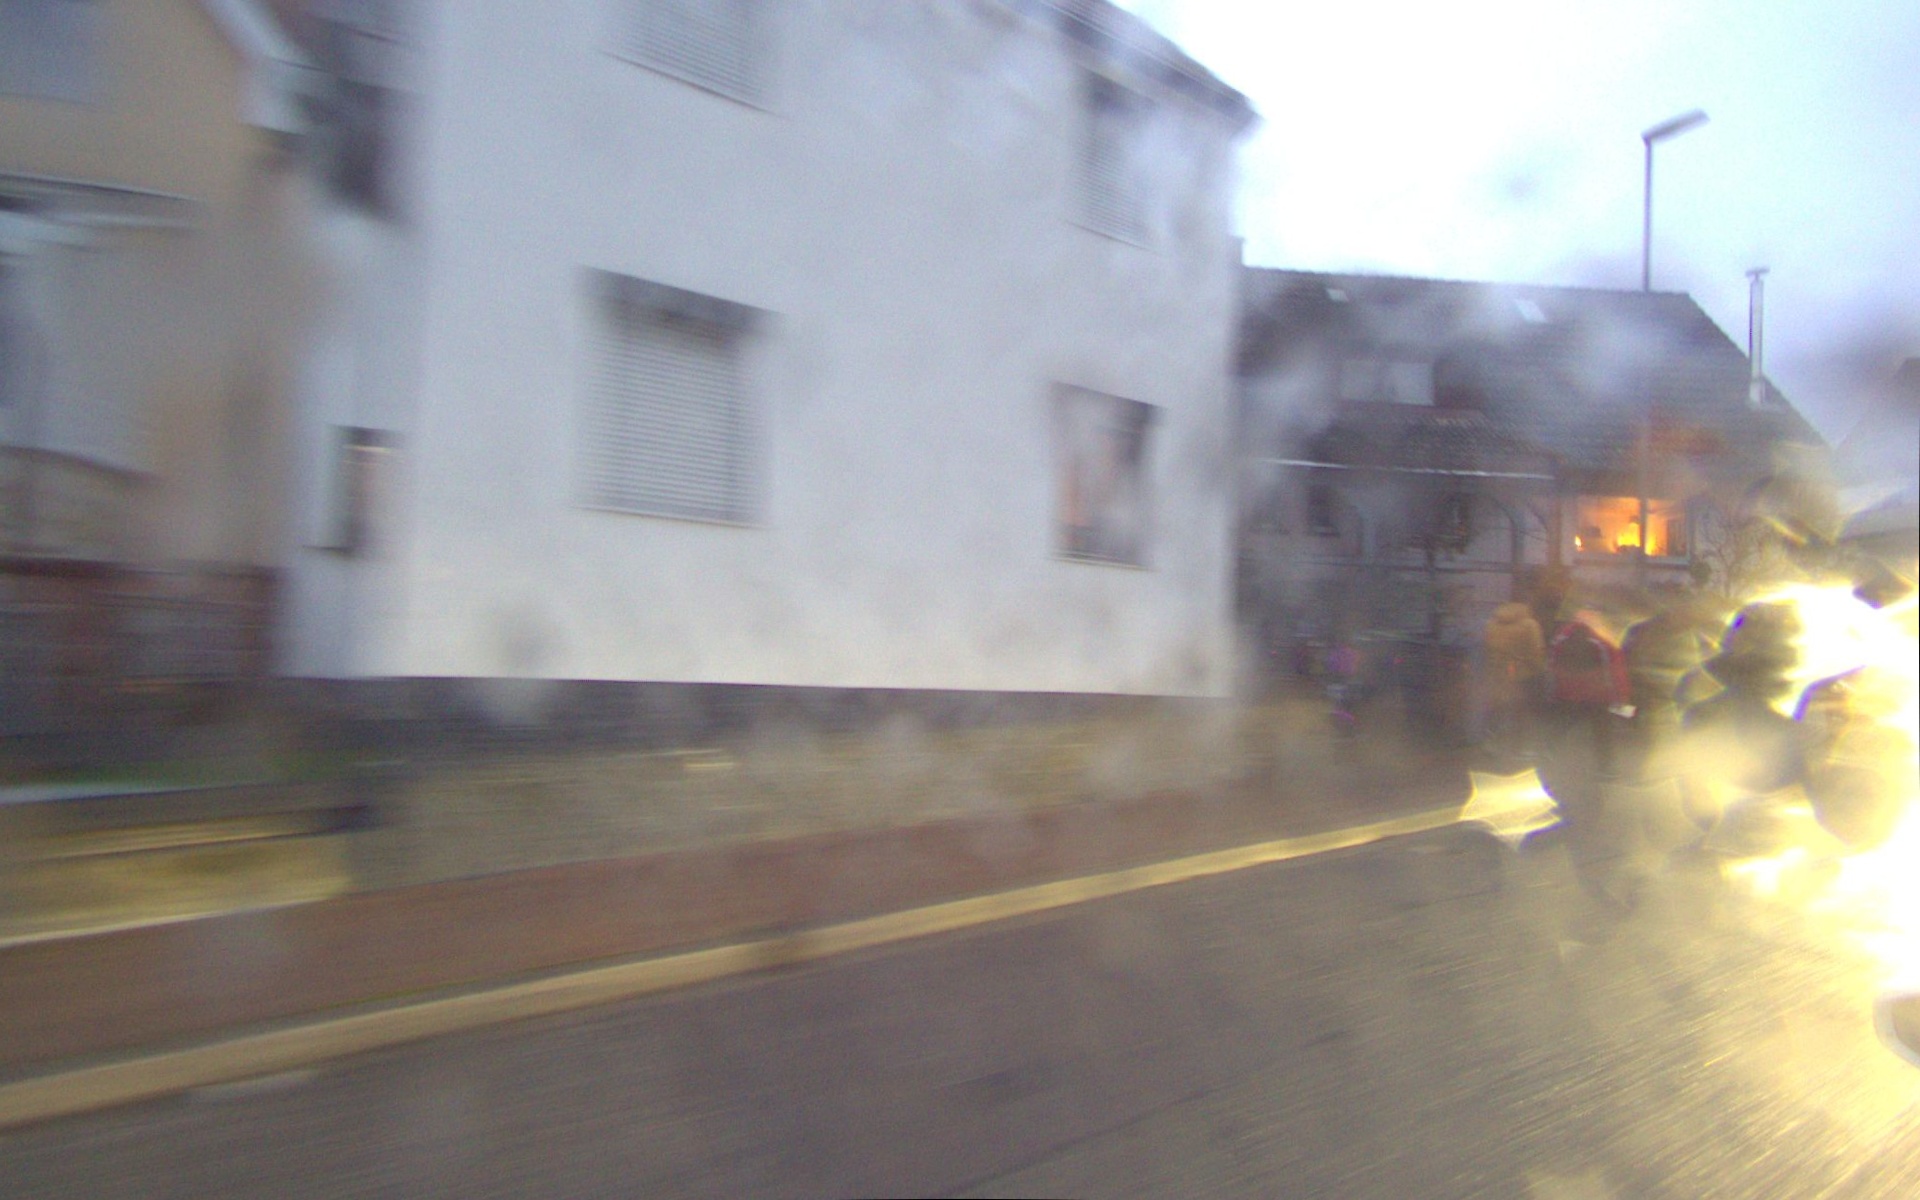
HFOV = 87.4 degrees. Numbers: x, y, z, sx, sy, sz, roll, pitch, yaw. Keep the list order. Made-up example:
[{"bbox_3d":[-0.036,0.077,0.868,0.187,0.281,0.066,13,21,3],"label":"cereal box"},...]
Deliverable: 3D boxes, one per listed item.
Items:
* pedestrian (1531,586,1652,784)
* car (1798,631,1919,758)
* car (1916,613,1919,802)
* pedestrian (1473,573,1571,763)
[{"bbox_3d":[6.064,0.785,9.648,0.804,1.802,0.701,2,-1,-36],"label":"pedestrian"},{"bbox_3d":[12.694,1.155,13.112,4.029,1.460,1.810,1,-1,-36],"label":"car"},{"bbox_3d":[10.273,0.982,8.837,3.955,1.601,1.749,3,-2,-31],"label":"car"},{"bbox_3d":[5.855,0.691,10.457,0.804,1.893,0.594,3,-1,-37],"label":"pedestrian"}]
